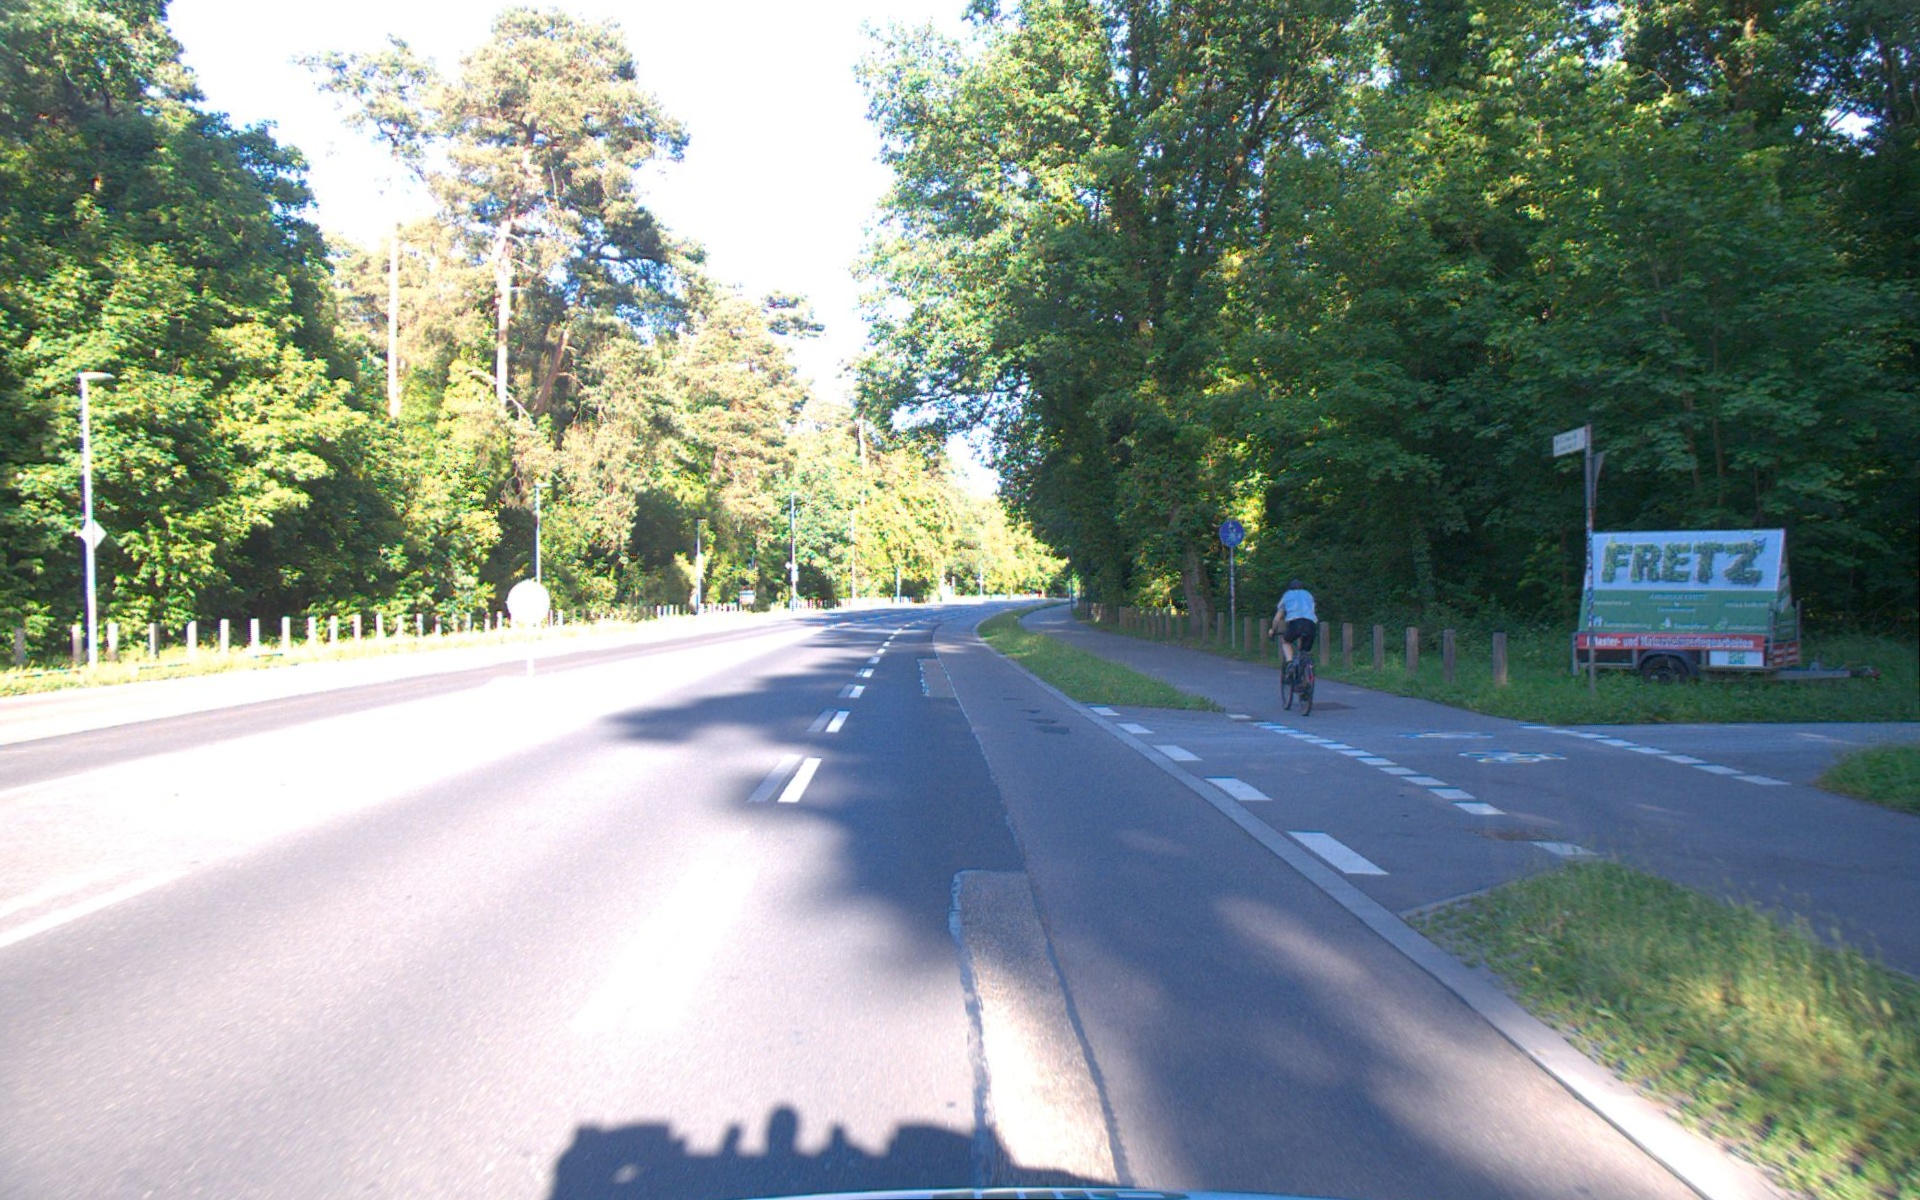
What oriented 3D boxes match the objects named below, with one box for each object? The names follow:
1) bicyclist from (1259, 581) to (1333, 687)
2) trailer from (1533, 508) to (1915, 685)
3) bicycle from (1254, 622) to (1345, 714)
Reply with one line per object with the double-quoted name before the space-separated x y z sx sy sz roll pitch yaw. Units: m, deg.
"bicyclist" 4.270 0.415 21.081 0.697 1.311 1.104 0 0 -1
"trailer" 9.970 -0.130 21.732 4.149 2.056 1.990 3 3 40
"bicycle" 4.270 0.833 20.953 0.697 1.074 2.052 0 0 -1
